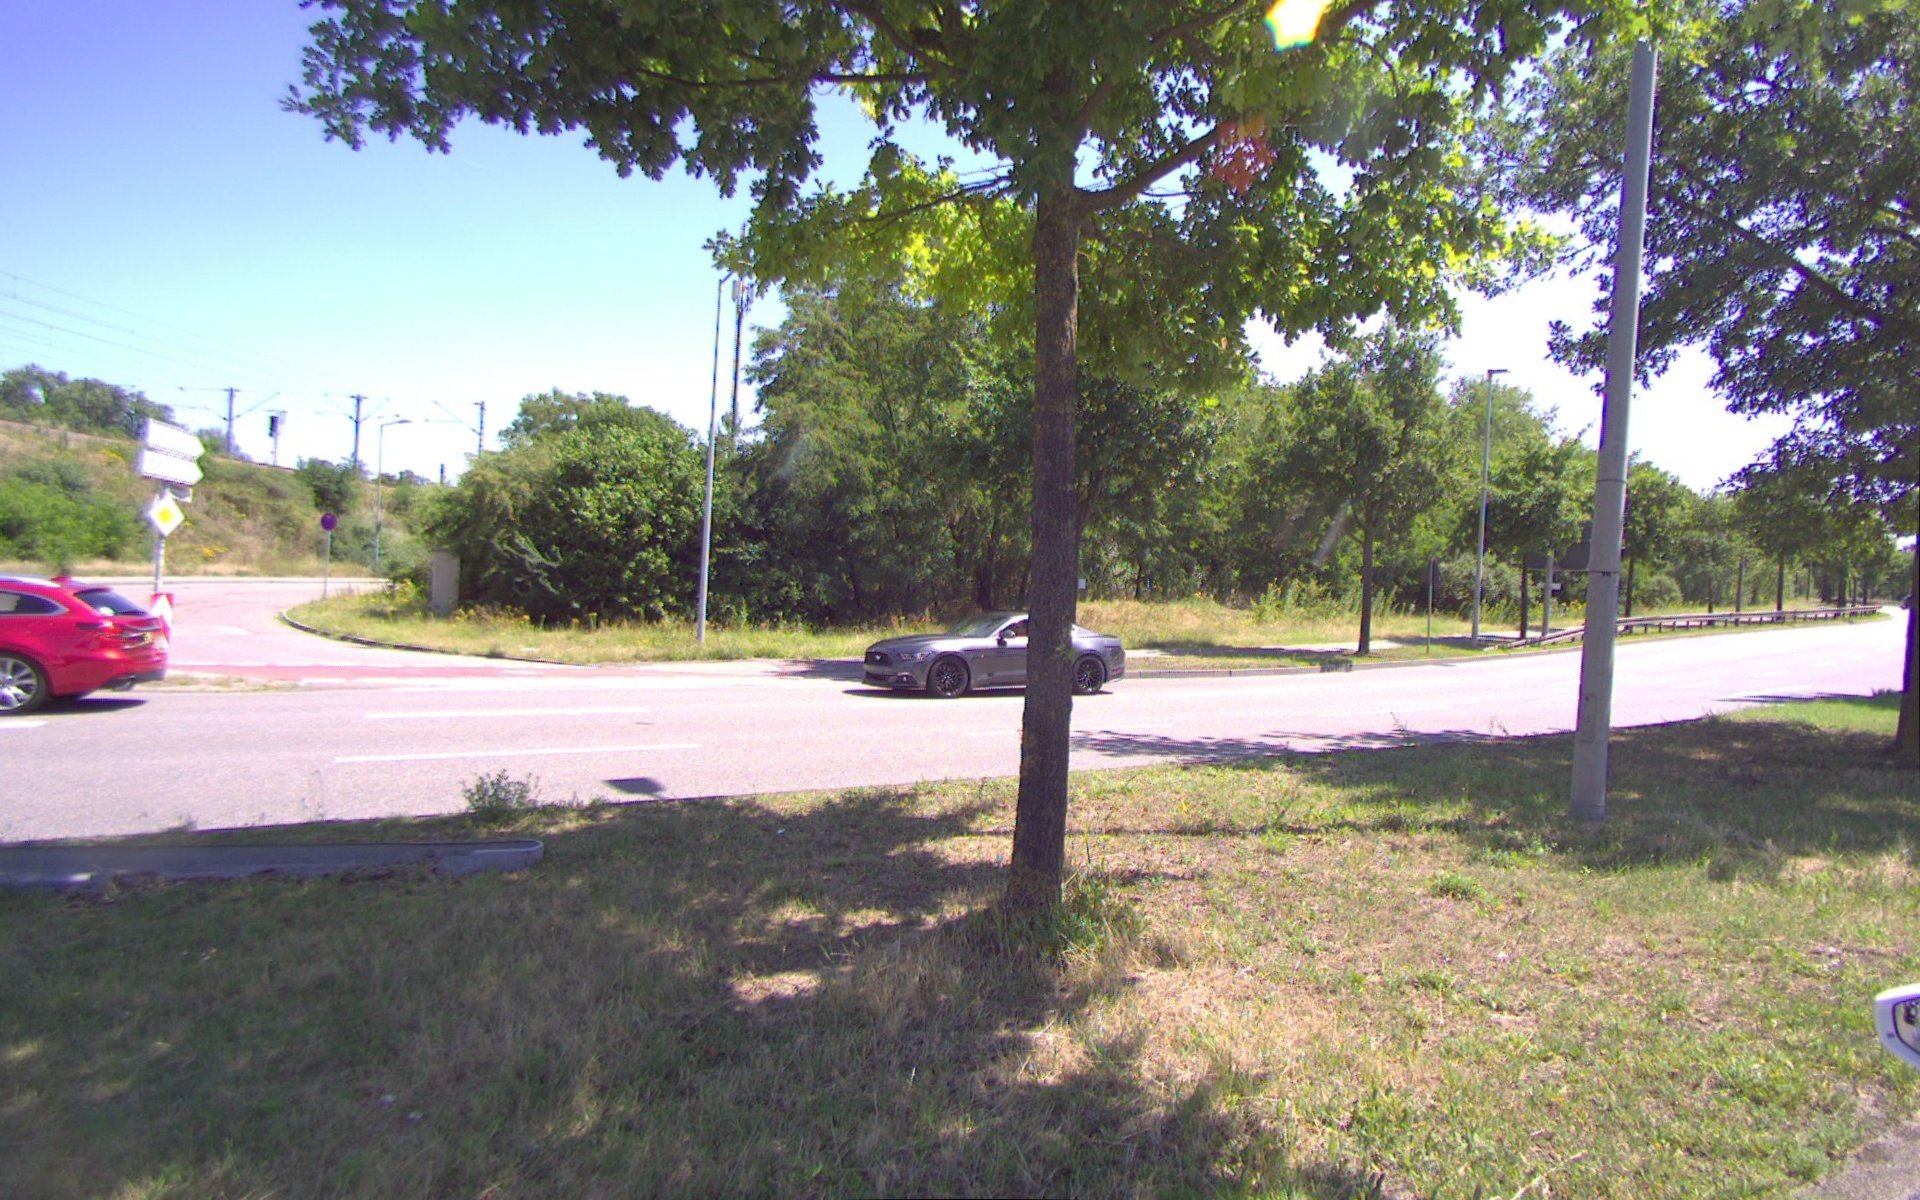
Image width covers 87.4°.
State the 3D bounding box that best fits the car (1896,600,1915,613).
[{"bbox_3d":[101.105,0.711,107.413,1.403,1.331,3.317,3,0,44],"label":"car"}]

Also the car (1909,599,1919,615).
[{"bbox_3d":[91.976,0.695,96.234,1.441,1.331,3.616,3,0,44],"label":"car"}]

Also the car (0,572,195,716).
[{"bbox_3d":[-11.152,0.406,10.669,4.465,1.456,1.825,3,0,-26],"label":"car"}]

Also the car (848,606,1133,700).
[{"bbox_3d":[0.562,0.879,16.941,4.515,1.351,1.801,2,0,-30],"label":"car"}]
